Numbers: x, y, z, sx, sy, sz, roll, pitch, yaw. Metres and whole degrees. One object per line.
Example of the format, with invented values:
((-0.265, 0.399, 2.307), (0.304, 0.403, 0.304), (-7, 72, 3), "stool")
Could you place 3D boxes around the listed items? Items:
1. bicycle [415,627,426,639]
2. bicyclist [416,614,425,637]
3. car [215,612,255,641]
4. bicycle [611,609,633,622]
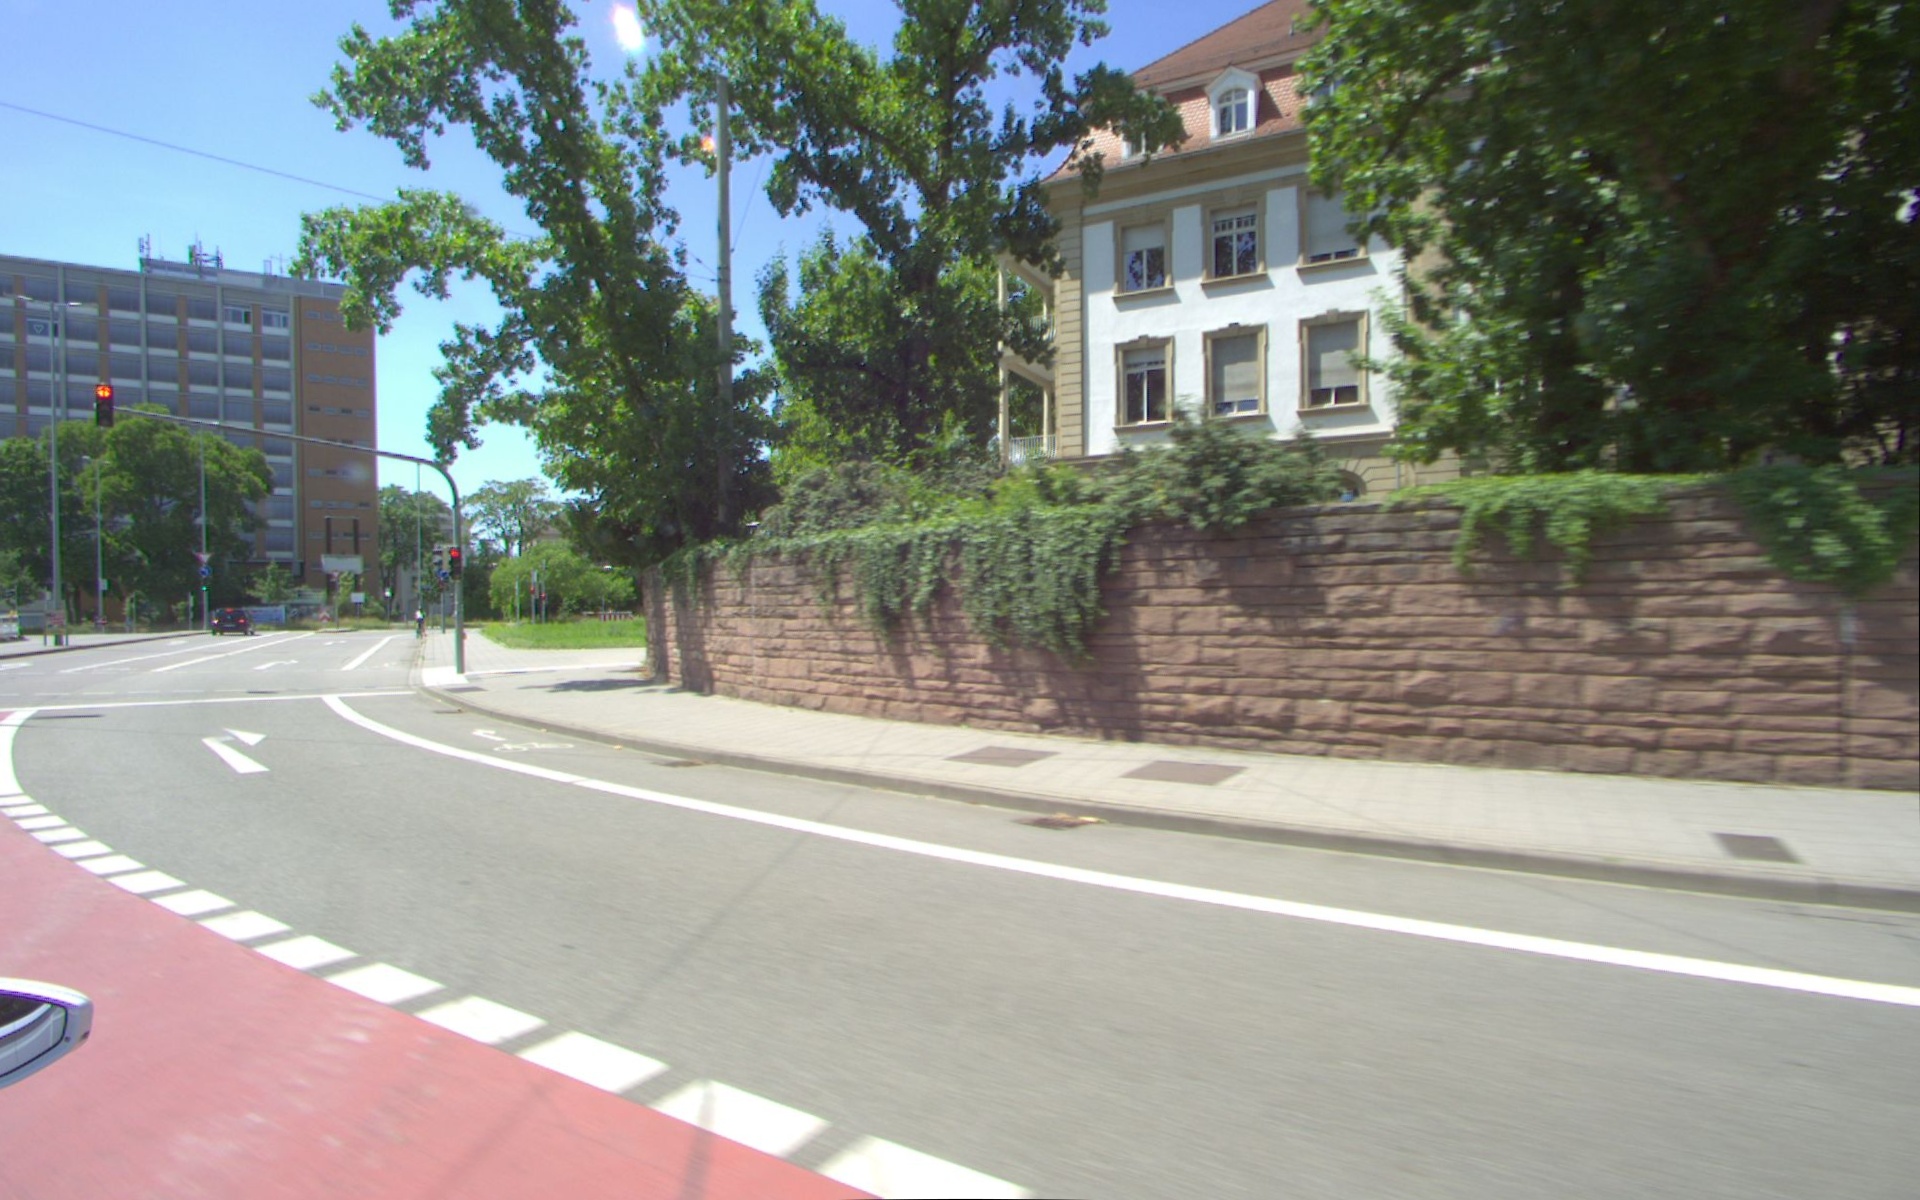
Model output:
((-29.549, 1.810, 54.854), (0.373, 0.654, 1.633), (-1, 0, -35), "bicycle")
((-29.560, 1.404, 54.858), (0.348, 1.244, 0.560), (-1, 1, -34), "bicyclist")
((-40.529, 1.438, 55.951), (1.674, 1.547, 3.661), (0, 0, -38), "car")
((-32.566, 1.494, 96.536), (1.978, 1.150, 0.573), (0, -1, -17), "bicycle")
